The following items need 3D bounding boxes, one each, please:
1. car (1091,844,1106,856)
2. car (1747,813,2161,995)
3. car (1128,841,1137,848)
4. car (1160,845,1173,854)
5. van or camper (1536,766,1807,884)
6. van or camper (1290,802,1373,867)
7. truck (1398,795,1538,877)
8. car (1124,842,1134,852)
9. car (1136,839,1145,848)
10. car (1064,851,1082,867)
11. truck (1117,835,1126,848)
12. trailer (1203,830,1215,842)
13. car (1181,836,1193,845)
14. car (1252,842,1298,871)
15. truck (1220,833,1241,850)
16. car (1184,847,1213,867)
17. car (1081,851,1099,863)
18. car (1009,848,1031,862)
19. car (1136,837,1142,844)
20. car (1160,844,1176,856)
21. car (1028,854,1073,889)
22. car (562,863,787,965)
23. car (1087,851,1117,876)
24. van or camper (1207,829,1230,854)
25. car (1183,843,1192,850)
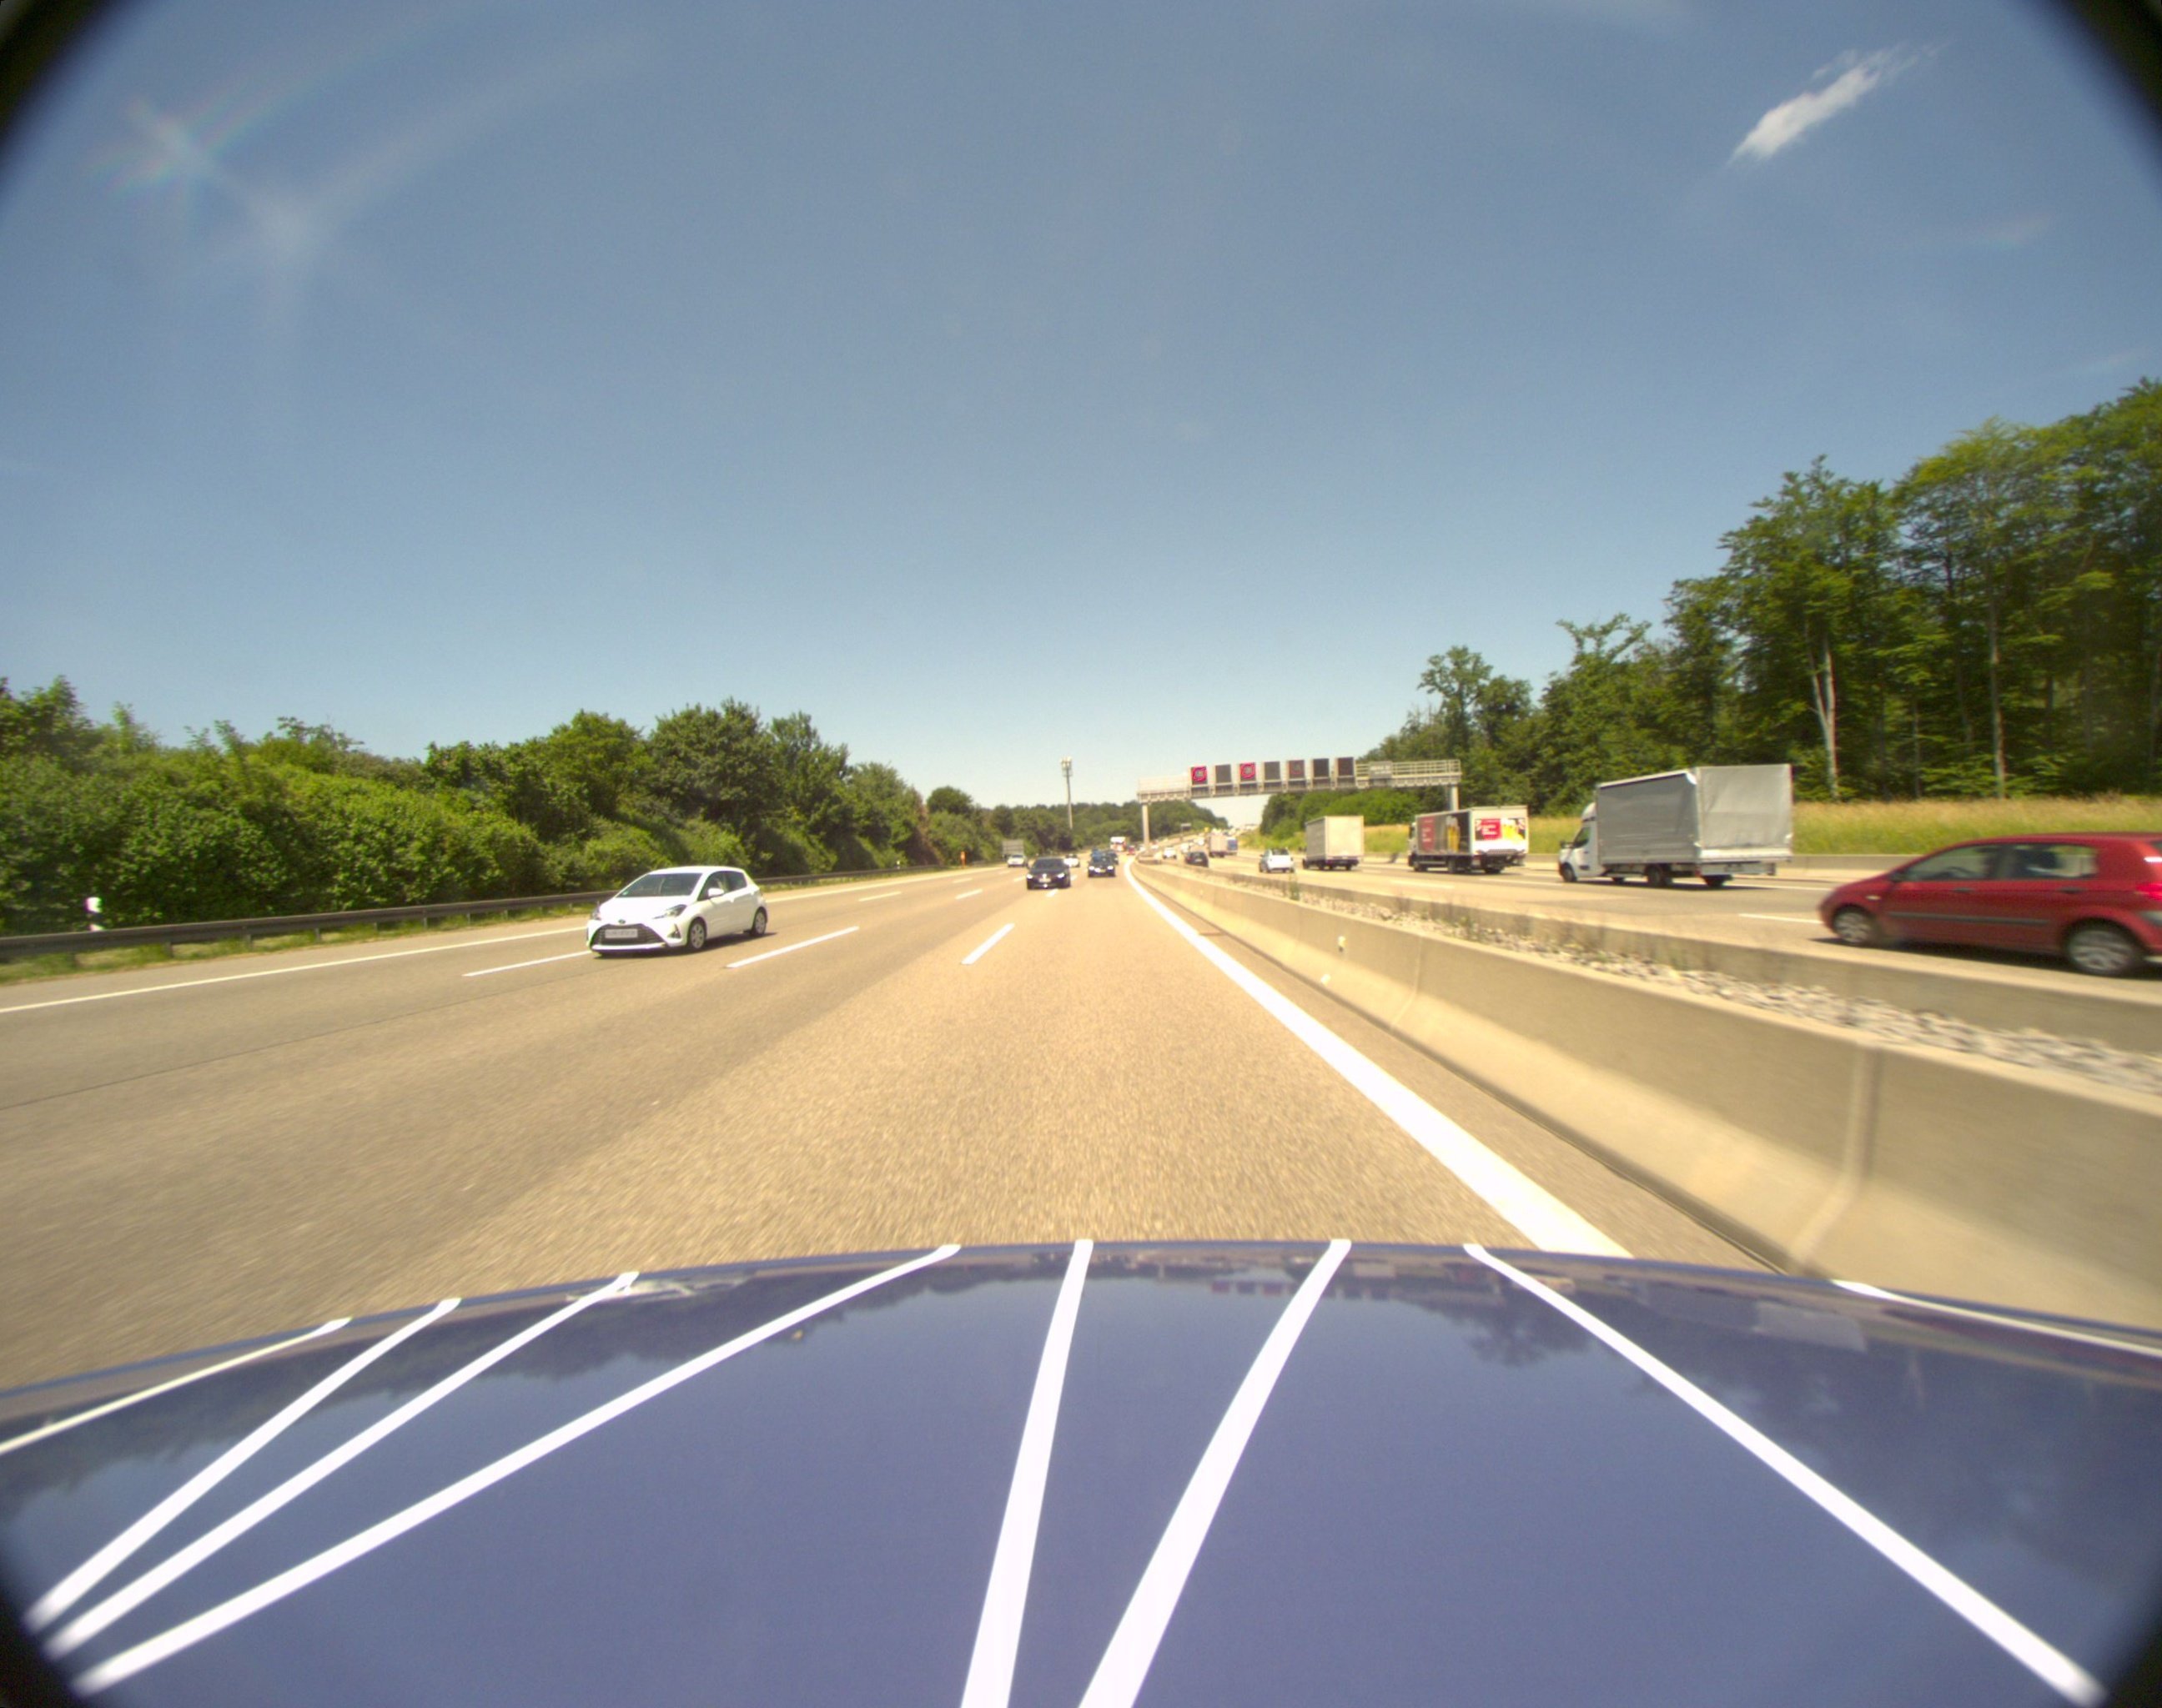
[{"bbox_3d":[3.154,-0.785,135.690,1.997,2.002,4.002,-2,2,10],"label":"car"},{"bbox_3d":[11.366,0.422,9.193,2.292,1.718,5.030,-2,1,2],"label":"car"},{"bbox_3d":[14.240,-2.567,209.775,1.997,1.848,4.001,-3,2,6],"label":"car"},{"bbox_3d":[15.556,-0.841,138.897,2.052,1.434,5.221,-2,1,3],"label":"car"},{"bbox_3d":[18.696,-0.906,24.979,2.771,3.107,8.093,-3,2,2],"label":"van or camper"},{"bbox_3d":[16.340,-1.300,50.222,2.836,3.817,8.213,-3,2,2],"label":"van or camper"},{"bbox_3d":[19.821,-0.952,39.724,2.876,3.676,9.239,-3,2,3],"label":"truck"},{"bbox_3d":[10.366,-1.429,163.749,1.998,2.002,4.001,-3,0,3],"label":"car"},{"bbox_3d":[16.088,-2.830,205.900,2.234,2.372,4.161,-3,2,2],"label":"car"},{"bbox_3d":[-0.829,0.478,80.626,1.729,1.521,3.741,-2,1,1],"label":"car"},{"bbox_3d":[11.547,-3.563,218.425,2.435,3.458,7.021,-3,2,2],"label":"truck"},{"bbox_3d":[39.351,-5.653,233.389,2.657,3.515,10.495,-3,2,5],"label":"trailer"},{"bbox_3d":[26.274,-3.280,188.492,2.200,2.043,7.141,-2,1,4],"label":"car"},{"bbox_3d":[12.366,0.142,48.716,1.744,1.752,5.119,-2,0,2],"label":"car"},{"bbox_3d":[26.813,-2.265,136.267,2.857,2.975,5.846,-3,2,3],"label":"truck"},{"bbox_3d":[9.878,0.222,64.179,1.998,1.581,4.844,-2,1,3],"label":"car"},{"bbox_3d":[1.376,0.437,114.944,1.997,1.521,4.235,-2,2,8],"label":"car"},{"bbox_3d":[-7.040,0.119,88.612,1.998,1.521,4.000,-2,1,3],"label":"car"},{"bbox_3d":[18.809,-4.299,246.164,1.998,2.002,4.000,-3,2,5],"label":"car"},{"bbox_3d":[13.192,-0.598,115.419,1.992,1.727,5.345,-3,1,3],"label":"car"},{"bbox_3d":[-1.366,0.767,35.652,1.760,1.431,4.000,-2,1,3],"label":"car"},{"bbox_3d":[-7.395,0.999,14.447,1.754,1.510,4.484,-2,0,1],"label":"car"},{"bbox_3d":[1.357,0.592,49.821,1.769,1.495,4.001,-3,-1,1],"label":"car"},{"bbox_3d":[21.111,-1.938,117.013,2.436,3.657,7.758,-2,1,2],"label":"van or camper"},{"bbox_3d":[21.997,-1.587,157.441,1.704,1.394,4.351,-1,2,6],"label":"car"}]
